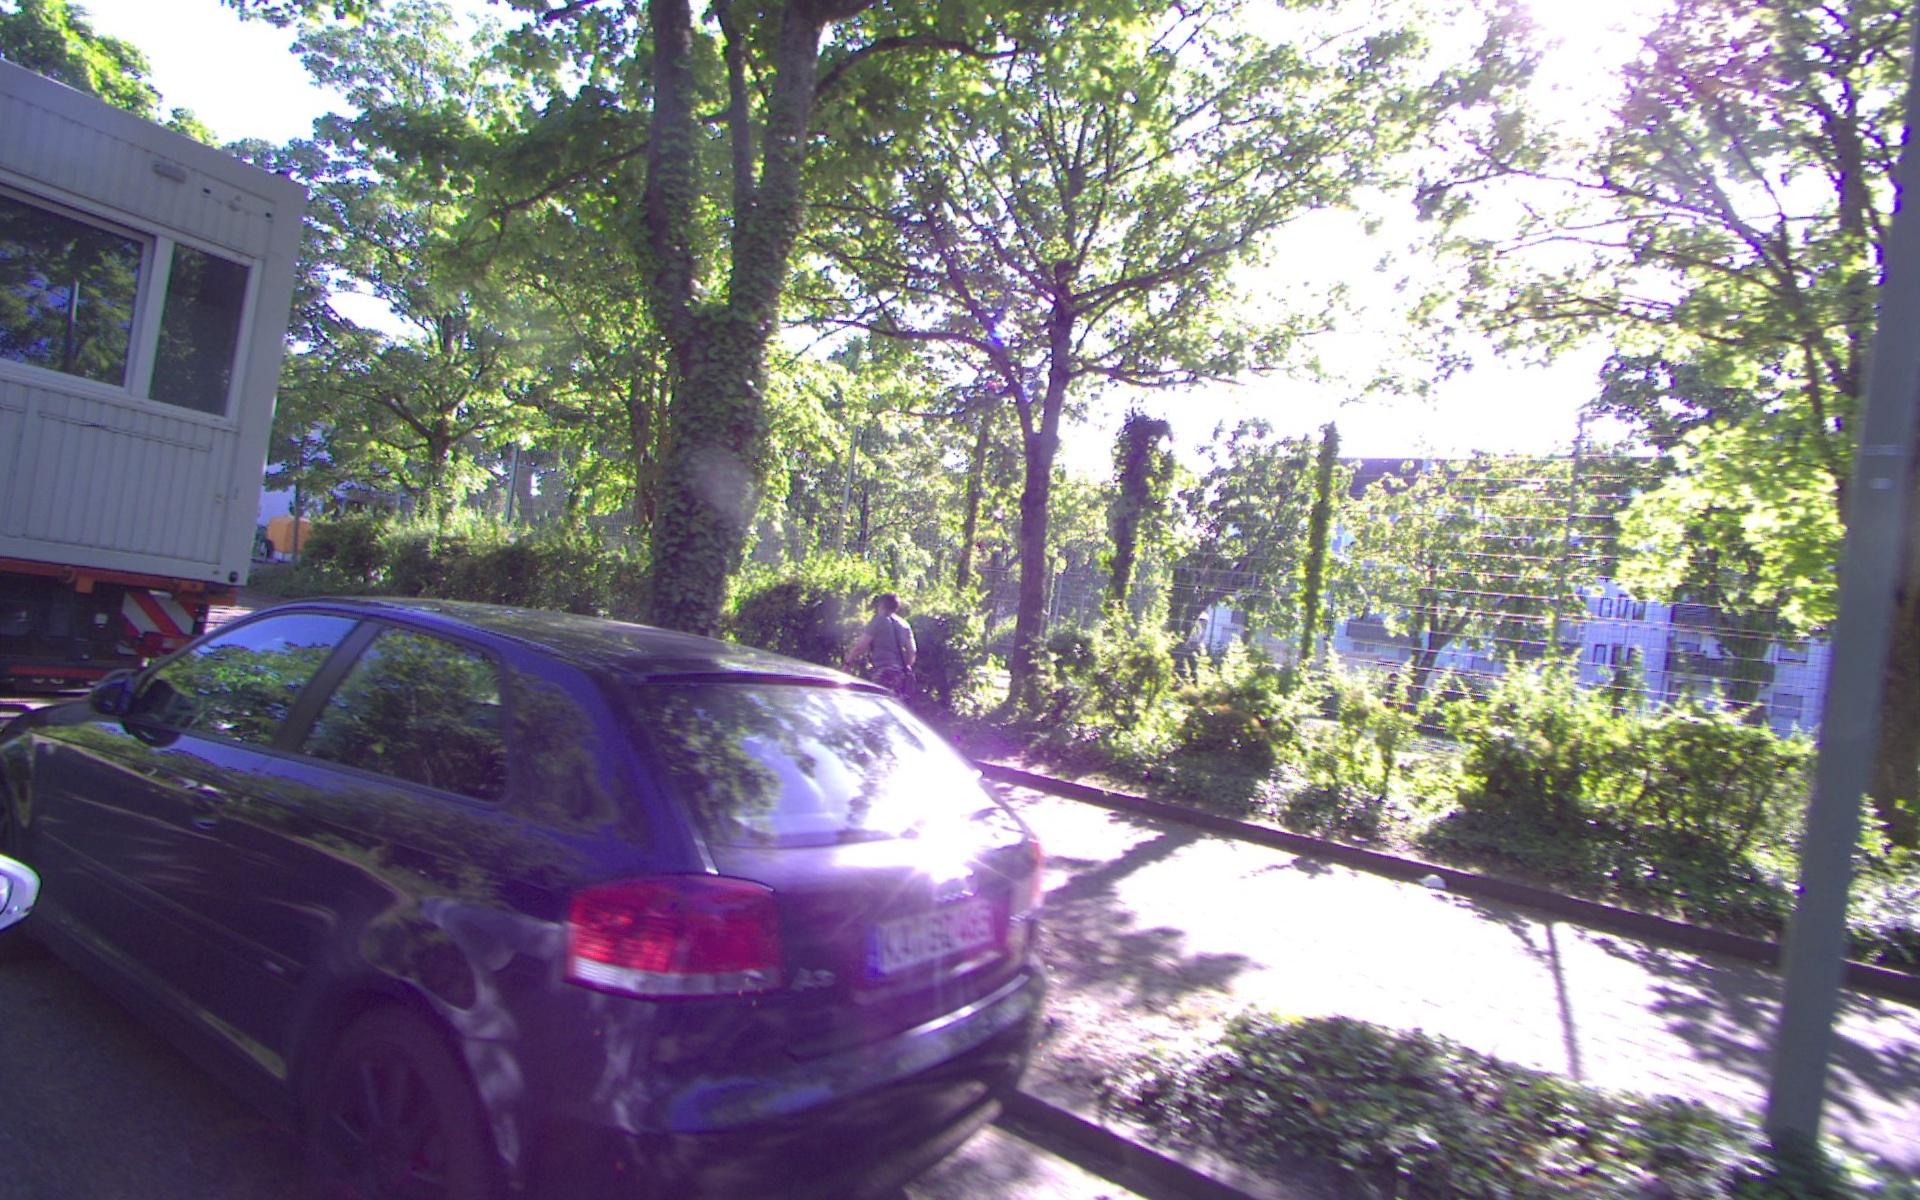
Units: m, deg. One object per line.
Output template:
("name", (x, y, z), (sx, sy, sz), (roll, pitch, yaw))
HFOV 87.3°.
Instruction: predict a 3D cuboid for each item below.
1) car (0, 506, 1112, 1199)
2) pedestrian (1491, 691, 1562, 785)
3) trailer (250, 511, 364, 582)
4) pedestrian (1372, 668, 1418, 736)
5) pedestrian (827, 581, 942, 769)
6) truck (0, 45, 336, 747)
("car", (-1.729, 0.633, 3.250), (3.935, 1.436, 1.643), (7, -2, 33))
("pedestrian", (8.298, 2.014, 14.742), (0.554, 1.253, 0.544), (9, -2, -15))
("trailer", (-23.840, -1.931, 36.795), (1.585, 2.141, 2.946), (7, -1, 34))
("pedestrian", (9.941, 2.327, 22.984), (0.622, 1.437, 0.505), (9, -2, -10))
("pedestrian", (-0.701, 0.689, 9.290), (0.662, 1.627, 0.570), (7, -1, 45))
("truck", (-9.657, -1.624, 9.007), (10.185, 4.041, 2.777), (7, -2, 35))
